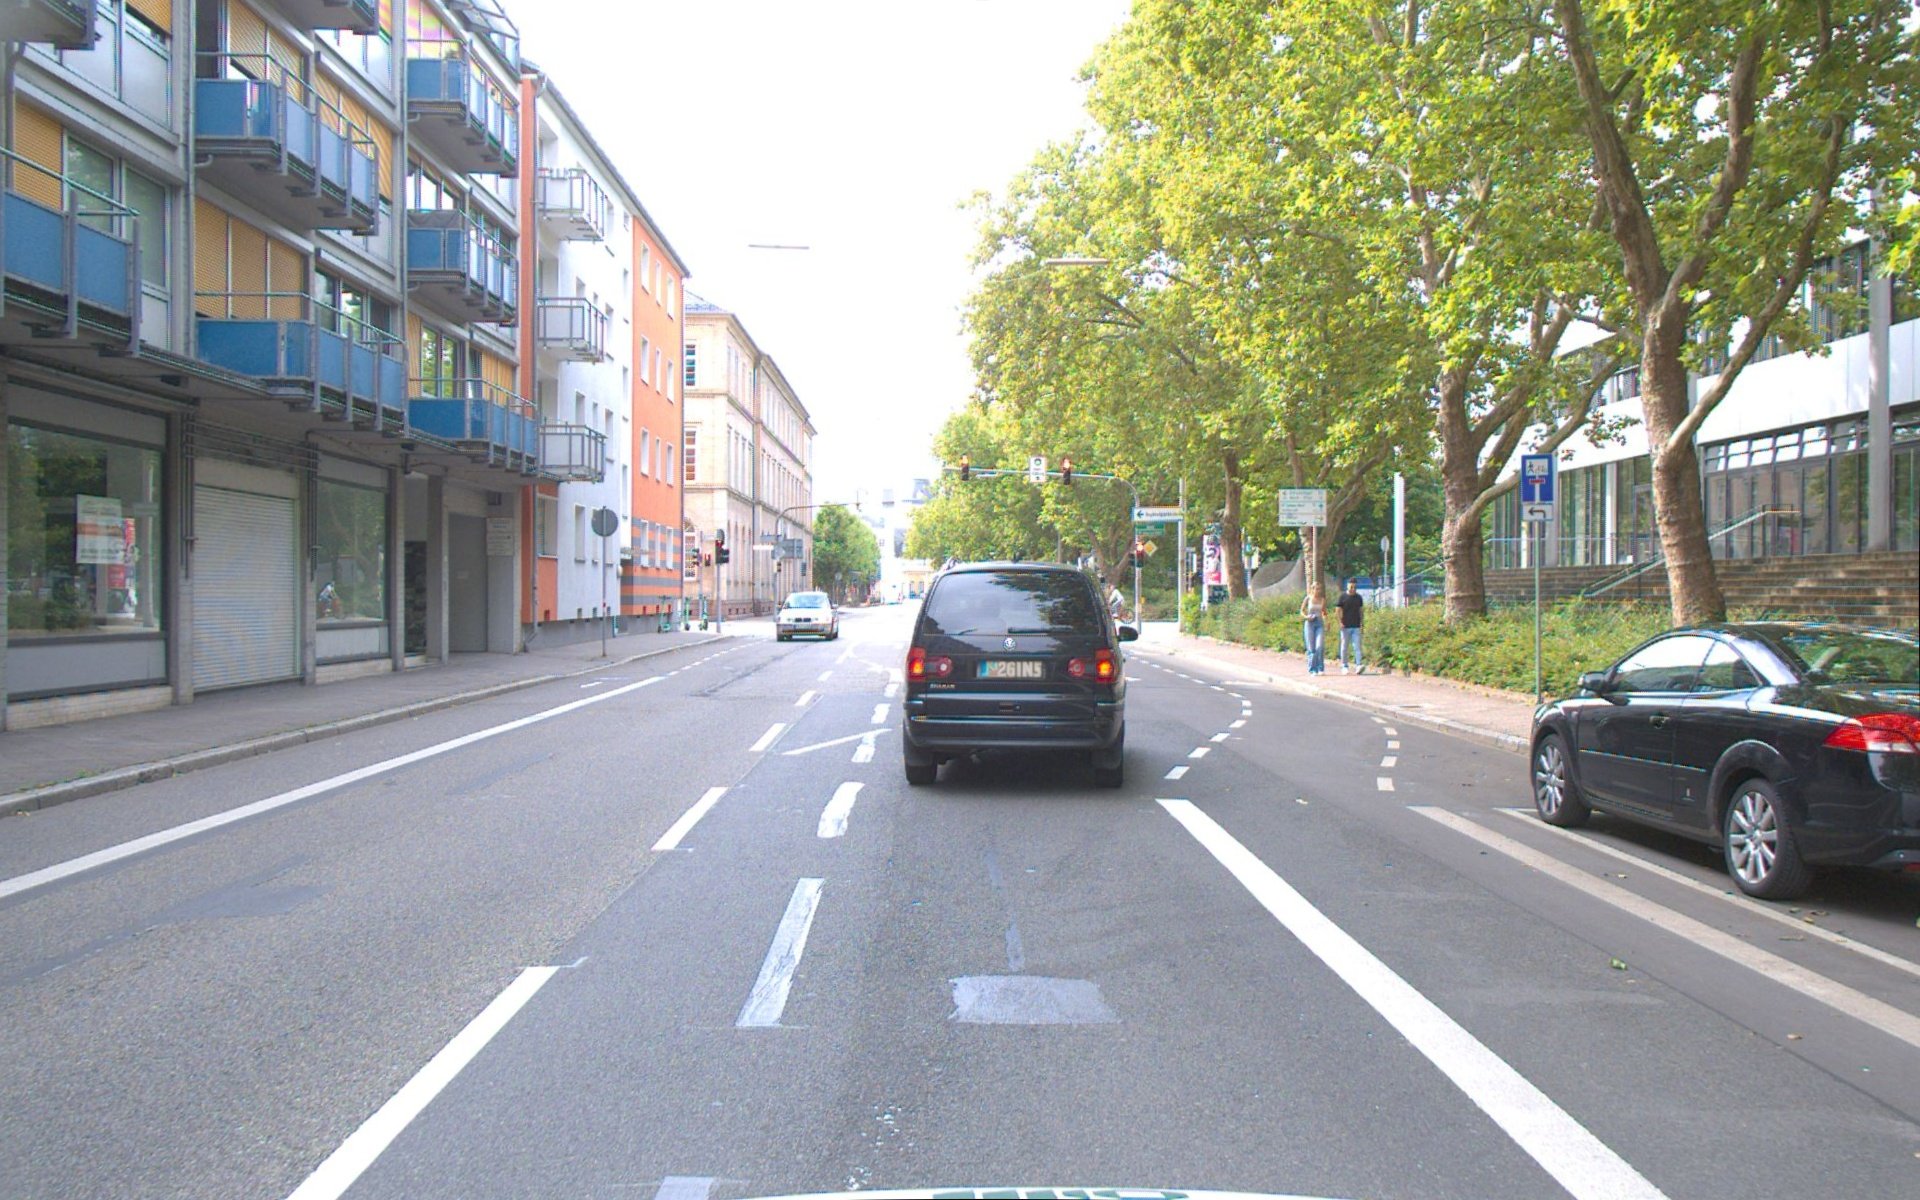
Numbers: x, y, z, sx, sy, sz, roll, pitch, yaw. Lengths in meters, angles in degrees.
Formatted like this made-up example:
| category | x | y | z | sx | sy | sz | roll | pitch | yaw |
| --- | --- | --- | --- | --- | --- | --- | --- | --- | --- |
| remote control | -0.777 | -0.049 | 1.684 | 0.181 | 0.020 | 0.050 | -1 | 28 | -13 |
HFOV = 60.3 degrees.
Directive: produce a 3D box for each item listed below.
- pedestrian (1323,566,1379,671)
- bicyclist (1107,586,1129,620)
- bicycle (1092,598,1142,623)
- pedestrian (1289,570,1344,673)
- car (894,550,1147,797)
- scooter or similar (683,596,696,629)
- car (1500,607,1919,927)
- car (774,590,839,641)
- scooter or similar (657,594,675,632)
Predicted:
| category | x | y | z | sx | sy | sz | roll | pitch | yaw |
| --- | --- | --- | --- | --- | --- | --- | --- | --- | --- |
| pedestrian | 7.055 | 0.330 | 29.874 | 0.700 | 1.831 | 1.033 | -2 | 0 | -2 |
| bicyclist | 7.097 | 0.139 | 74.367 | 0.897 | 1.519 | 0.626 | 0 | 0 | -5 |
| bicycle | 7.062 | 0.452 | 74.360 | 2.191 | 1.113 | 0.627 | 0 | 0 | -6 |
| pedestrian | 6.439 | 0.382 | 29.941 | 0.696 | 1.814 | 1.033 | -2 | 0 | -2 |
| car | 0.648 | 0.509 | 14.322 | 1.834 | 1.775 | 4.576 | 0 | 0 | 5 |
| scooter or similar | -9.670 | 0.451 | 59.136 | 0.370 | 1.167 | 1.141 | 0 | -1 | -4 |
| car | 4.949 | 0.814 | 10.022 | 1.664 | 1.450 | 4.419 | 2 | 0 | -3 |
| car | -4.641 | 0.448 | 50.483 | 1.722 | 1.452 | 4.097 | -1 | 0 | -2 |
| scooter or similar | -9.405 | 0.413 | 52.924 | 0.370 | 1.204 | 1.389 | 0 | -1 | -1 |
